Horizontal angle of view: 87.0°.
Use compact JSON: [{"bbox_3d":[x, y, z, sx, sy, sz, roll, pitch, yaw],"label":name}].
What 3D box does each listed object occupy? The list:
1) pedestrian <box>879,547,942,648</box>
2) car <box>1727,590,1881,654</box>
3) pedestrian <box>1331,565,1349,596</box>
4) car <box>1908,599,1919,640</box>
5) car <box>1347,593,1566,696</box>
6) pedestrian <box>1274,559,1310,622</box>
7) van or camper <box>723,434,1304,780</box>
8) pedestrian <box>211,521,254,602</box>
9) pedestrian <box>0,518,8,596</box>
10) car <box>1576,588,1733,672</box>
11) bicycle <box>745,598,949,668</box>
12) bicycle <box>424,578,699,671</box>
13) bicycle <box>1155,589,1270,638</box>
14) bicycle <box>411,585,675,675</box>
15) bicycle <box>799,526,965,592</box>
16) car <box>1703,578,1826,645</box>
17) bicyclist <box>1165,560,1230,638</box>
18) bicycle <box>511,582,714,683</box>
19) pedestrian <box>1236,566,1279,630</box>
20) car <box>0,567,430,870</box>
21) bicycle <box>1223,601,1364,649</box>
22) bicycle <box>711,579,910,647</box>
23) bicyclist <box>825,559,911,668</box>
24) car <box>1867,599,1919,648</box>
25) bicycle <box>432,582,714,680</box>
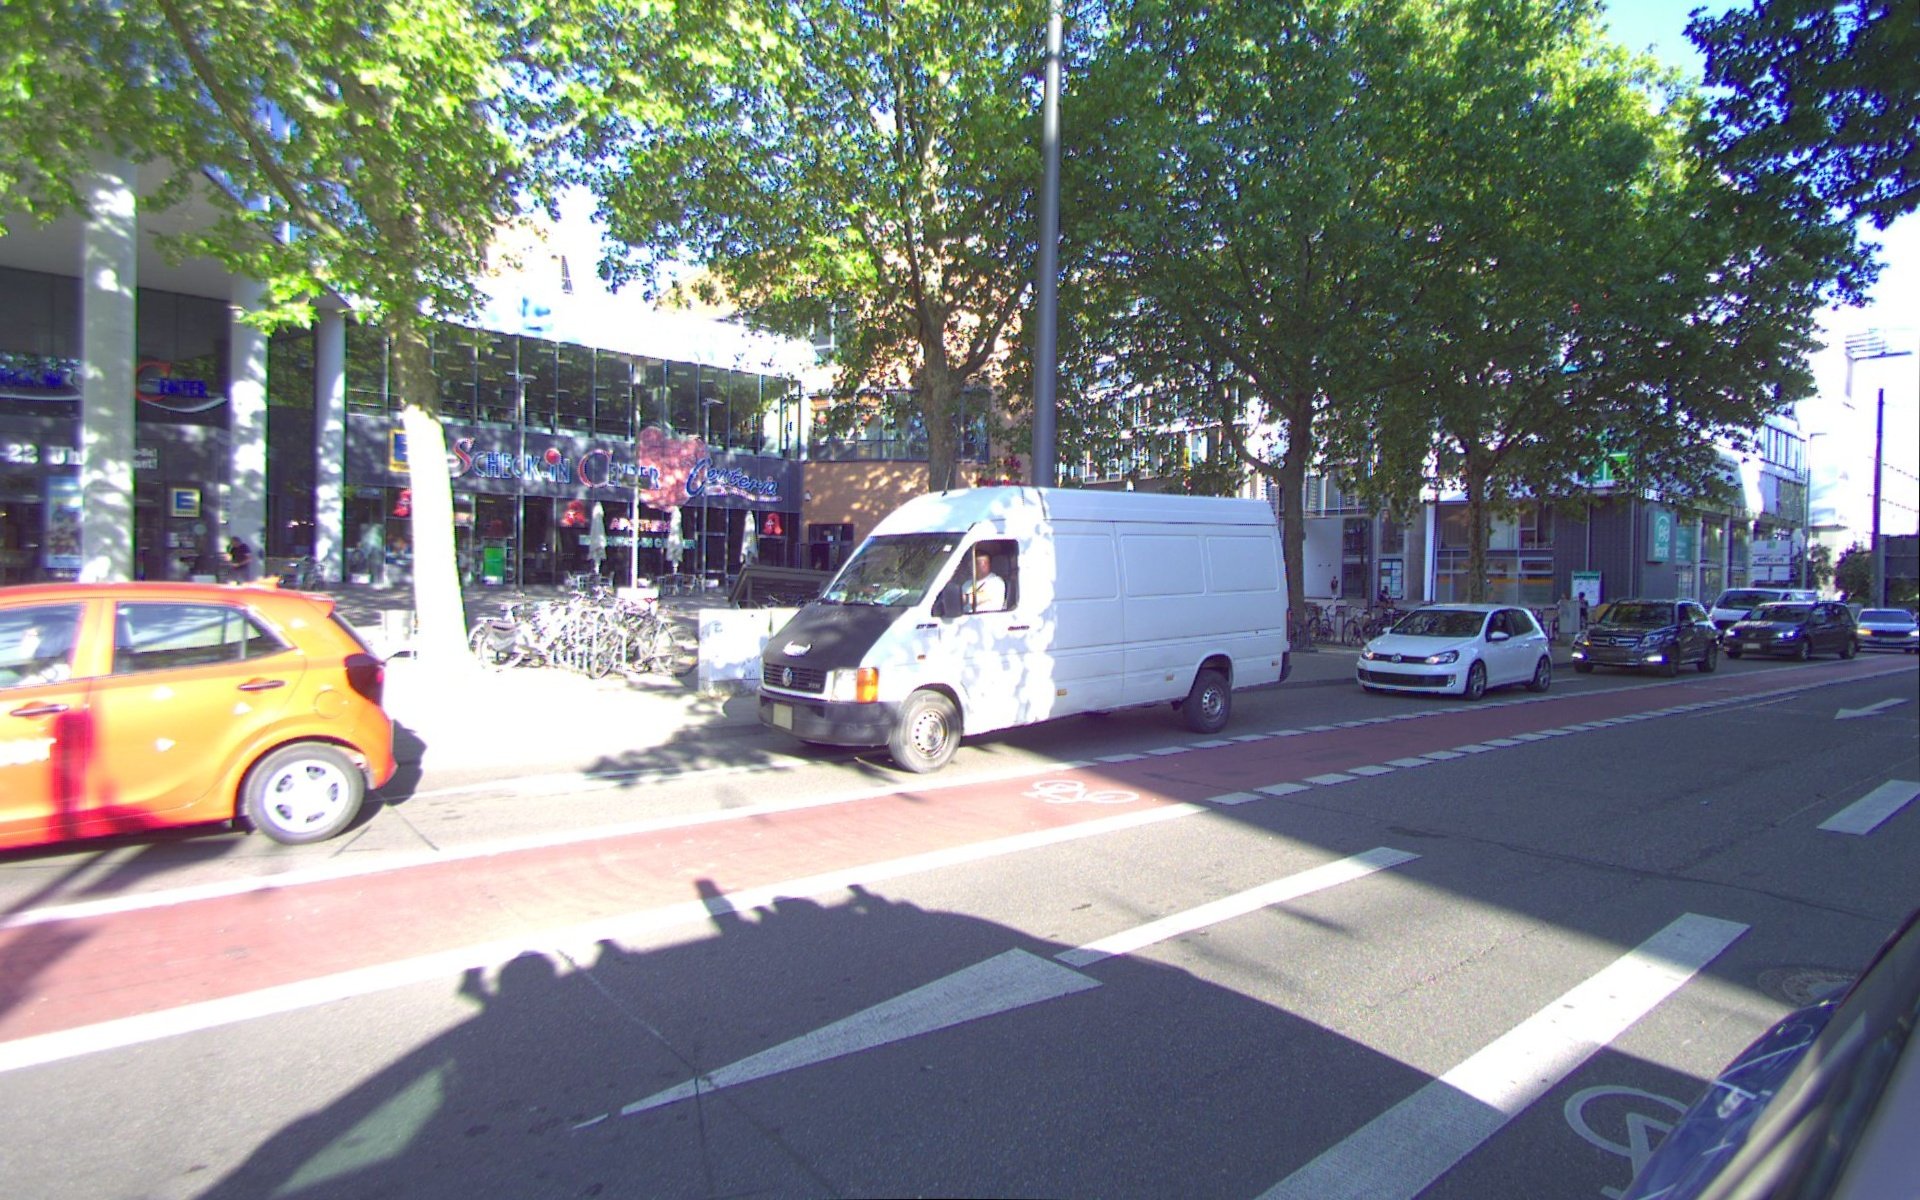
[{"bbox_3d":[-1.023,-0.069,21.122,0.922,2.039,1.085,2,1,24],"label":"pedestrian"},{"bbox_3d":[23.362,0.568,27.998,4.300,1.656,1.714,0,0,-27],"label":"car"},{"bbox_3d":[25.113,-1.282,66.951,0.860,2.039,0.796,0,0,-41],"label":"pedestrian"},{"bbox_3d":[37.680,0.730,38.290,4.115,1.508,1.837,0,-1,-35],"label":"car"},{"bbox_3d":[8.008,0.625,16.207,3.914,1.446,1.639,0,0,-38],"label":"car"},{"bbox_3d":[12.048,-0.353,36.715,0.884,2.261,0.845,0,0,-19],"label":"pedestrian"},{"bbox_3d":[0.917,0.023,10.566,6.382,2.647,2.004,0,1,-40],"label":"van or camper"},{"bbox_3d":[-18.834,-0.986,26.220,0.843,2.039,1.024,0,0,-34],"label":"pedestrian"},{"bbox_3d":[-24.130,-1.055,24.787,0.857,1.912,0.813,1,2,2],"label":"pedestrian"},{"bbox_3d":[15.162,0.587,22.020,4.174,1.656,1.768,0,0,-40],"label":"car"},{"bbox_3d":[-1.801,0.499,16.719,3.352,1.014,1.050,-1,0,-41],"label":"bicycle"},{"bbox_3d":[-5.921,0.408,15.307,3.743,1.236,0.729,4,-2,-35],"label":"bicycle"},{"bbox_3d":[6.577,0.314,26.626,1.124,1.097,3.342,0,2,-23],"label":"bicycle"},{"bbox_3d":[-6.446,0.418,15.882,3.743,1.236,0.794,-2,1,-34],"label":"bicycle"},{"bbox_3d":[-1.194,-0.615,16.060,2.591,0.960,0.924,-1,0,-41],"label":"bicycle"},{"bbox_3d":[26.005,0.328,32.620,5.812,1.989,1.933,0,0,-39],"label":"car"},{"bbox_3d":[6.359,-0.048,27.123,1.132,2.039,1.301,0,1,-24],"label":"bicyclist"},{"bbox_3d":[-4.699,0.393,13.811,2.504,1.236,0.758,-2,1,-35],"label":"bicycle"},{"bbox_3d":[10.789,-0.076,36.730,1.195,2.276,1.052,0,0,-3],"label":"pedestrian"},{"bbox_3d":[-5.047,0.567,5.578,3.533,1.478,1.493,0,0,-40],"label":"car"},{"bbox_3d":[7.724,0.562,23.411,3.136,1.038,0.979,0,0,-18],"label":"bicycle"},{"bbox_3d":[-2.539,0.185,17.624,3.352,1.013,1.051,-1,6,-41],"label":"bicycle"},{"bbox_3d":[-1.437,0.196,15.857,1.005,1.641,0.902,0,0,-41],"label":"bicyclist"},{"bbox_3d":[31.150,0.740,33.313,1.831,1.508,4.129,1,1,43],"label":"car"},{"bbox_3d":[-5.509,0.383,14.695,3.744,1.236,0.758,-2,1,-35],"label":"bicycle"}]
